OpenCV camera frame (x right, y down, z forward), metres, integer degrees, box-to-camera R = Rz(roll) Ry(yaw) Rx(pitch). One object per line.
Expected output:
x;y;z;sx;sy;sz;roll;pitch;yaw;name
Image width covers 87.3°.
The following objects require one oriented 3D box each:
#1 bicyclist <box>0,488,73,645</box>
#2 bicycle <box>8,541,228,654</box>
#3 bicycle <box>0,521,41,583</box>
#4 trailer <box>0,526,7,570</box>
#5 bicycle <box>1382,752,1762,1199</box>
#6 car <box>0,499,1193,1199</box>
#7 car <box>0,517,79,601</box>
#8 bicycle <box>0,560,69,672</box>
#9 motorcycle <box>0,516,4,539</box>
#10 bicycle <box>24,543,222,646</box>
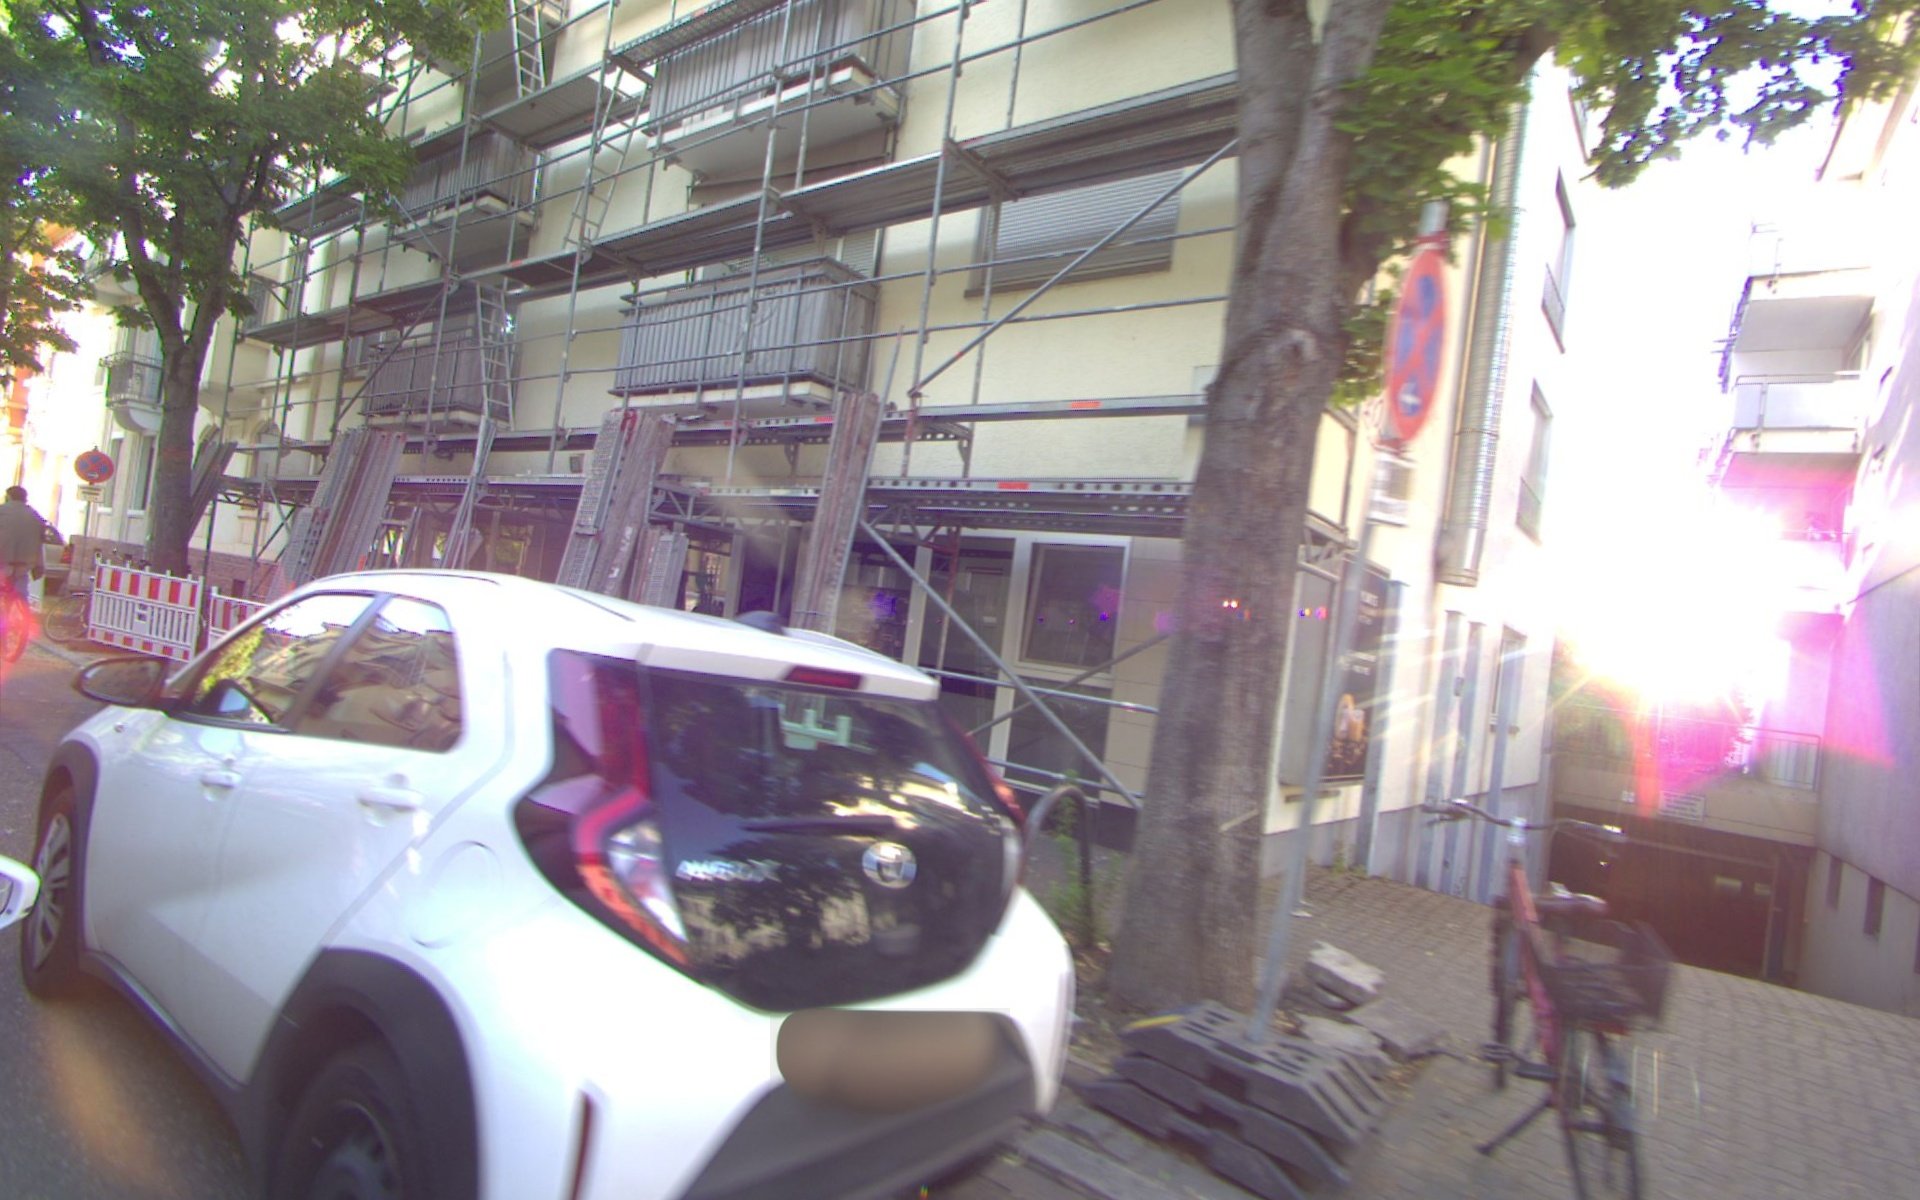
-10.314;-0.390;10.875;0.967;1.582;0.756;6;-3;39;bicyclist
-10.708;-0.011;12.889;1.904;1.134;0.744;9;-2;-22;bicycle
-22.384;-1.184;23.047;0.577;1.320;1.760;6;-2;37;bicycle
-25.400;-1.482;25.032;1.096;1.124;2.088;7;-3;25;trailer
1.934;1.267;3.486;0.738;1.170;1.970;6;1;24;bicycle
-1.541;0.659;3.168;3.907;1.552;1.803;6;-3;40;car
-19.541;-0.946;20.408;4.364;1.439;1.679;6;-1;38;car
-10.458;0.122;10.933;1.831;1.071;0.739;5;-4;39;bicycle
-26.395;-1.636;26.854;2.202;1.432;0.861;6;-3;40;motorcycle
-11.623;-0.061;14.038;1.971;1.134;0.739;10;-3;-41;bicycle
